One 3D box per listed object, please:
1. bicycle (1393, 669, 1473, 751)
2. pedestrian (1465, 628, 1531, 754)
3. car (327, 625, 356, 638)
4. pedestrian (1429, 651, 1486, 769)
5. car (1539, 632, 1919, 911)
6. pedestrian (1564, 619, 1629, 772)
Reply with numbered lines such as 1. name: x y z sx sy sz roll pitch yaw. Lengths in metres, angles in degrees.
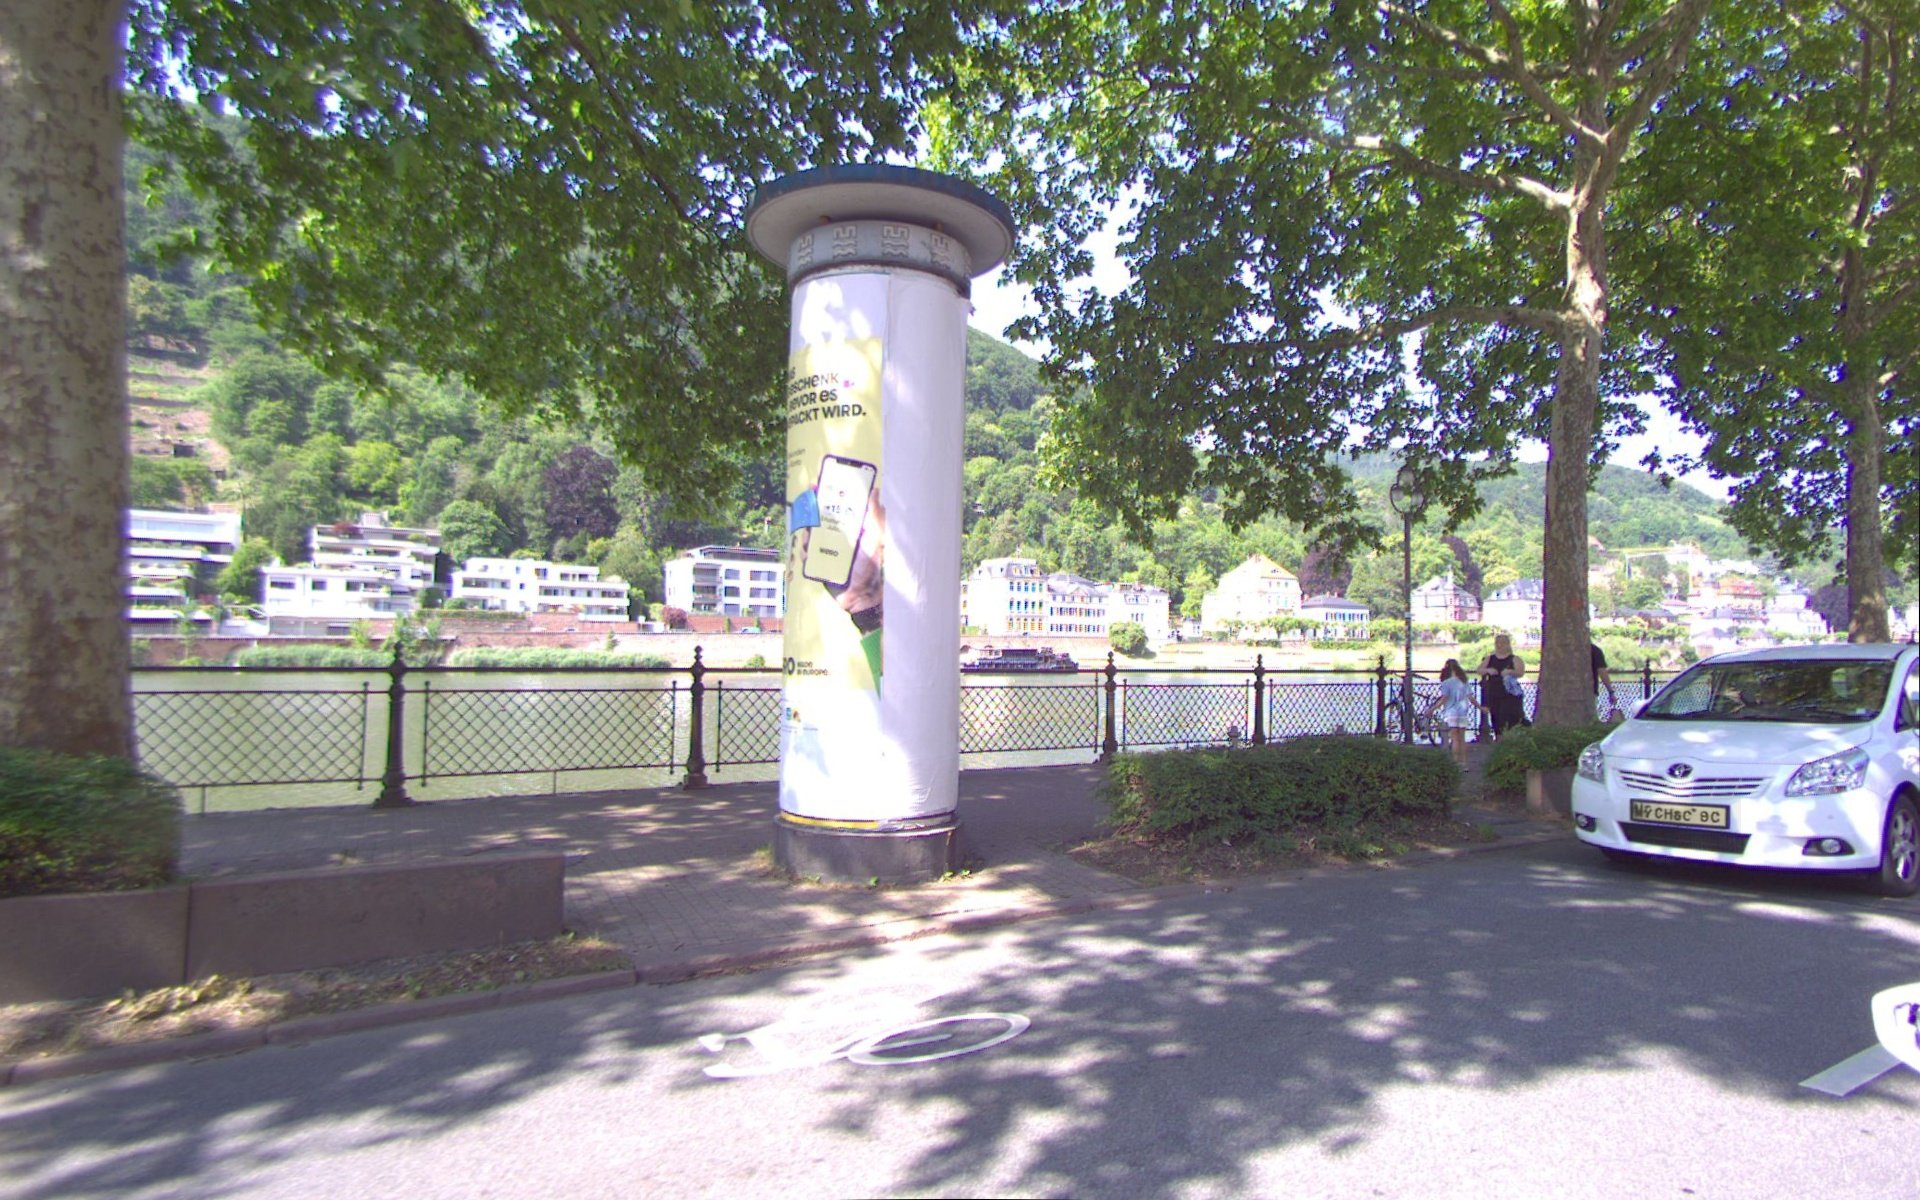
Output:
1. bicycle: 6.823 1.562 14.466 1.281 1.106 0.357 2 1 -31
2. pedestrian: 7.534 1.258 14.076 0.577 1.707 0.598 2 -3 -31
3. car: -102.261 5.199 166.046 3.953 2.040 1.984 2 -1 -30
4. pedestrian: 6.035 1.322 12.189 0.411 1.380 0.477 2 -2 -26
5. car: 6.412 1.121 7.557 4.044 1.592 1.731 2 -6 -30
6. pedestrian: 8.190 1.208 12.940 0.431 1.912 0.532 2 0 -30
